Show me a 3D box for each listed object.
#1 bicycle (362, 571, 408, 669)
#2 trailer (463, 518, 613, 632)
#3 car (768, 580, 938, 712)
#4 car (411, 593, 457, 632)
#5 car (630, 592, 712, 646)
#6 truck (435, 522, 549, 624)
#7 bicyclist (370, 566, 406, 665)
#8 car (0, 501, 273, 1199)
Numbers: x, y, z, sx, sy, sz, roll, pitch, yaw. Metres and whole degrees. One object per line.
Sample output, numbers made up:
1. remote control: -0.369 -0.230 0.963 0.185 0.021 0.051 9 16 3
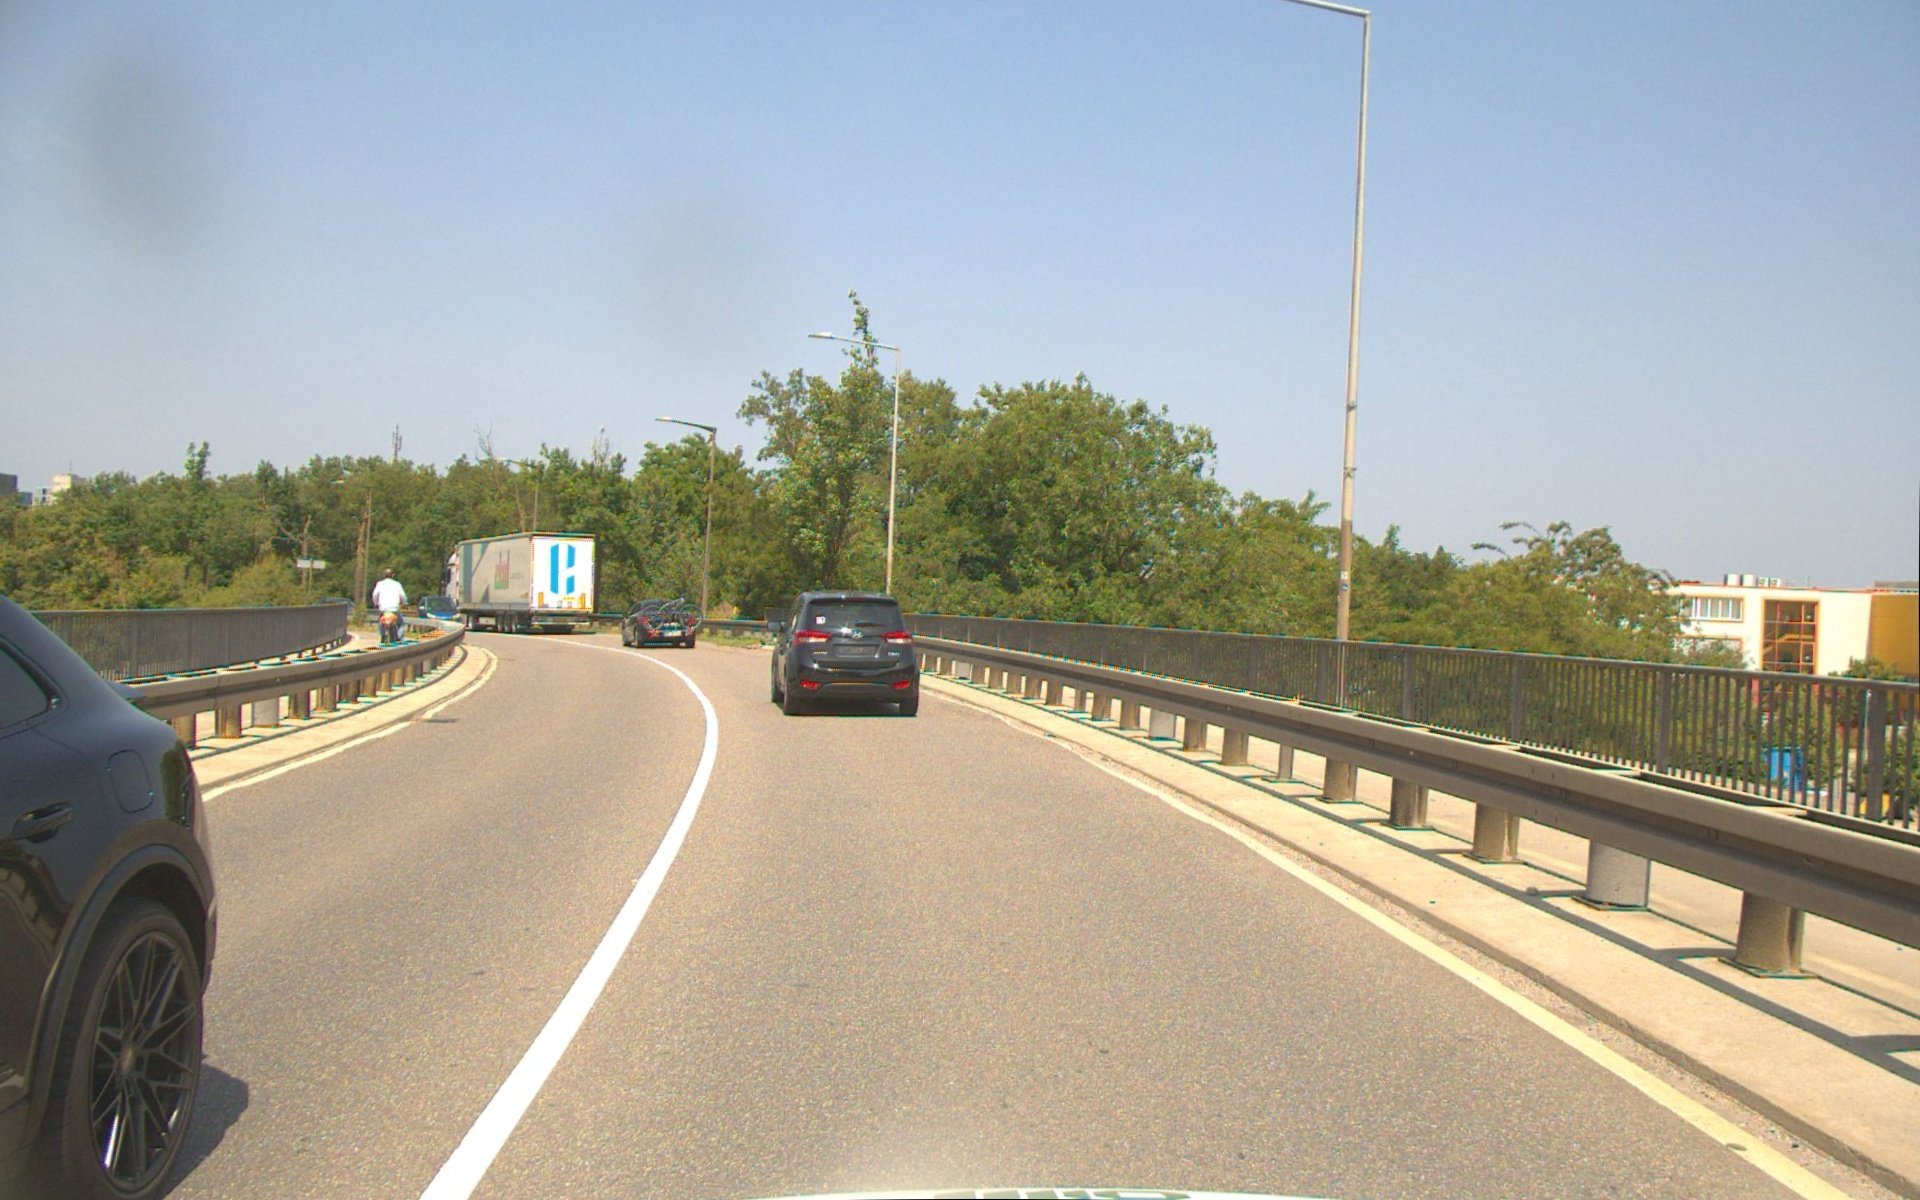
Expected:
1. bicycle: -11.197 0.365 32.262 0.686 1.833 2.172 1 1 -15
2. trailer: -18.245 -1.084 70.766 3.530 4.460 11.333 0 1 -29
3. car: -1.542 0.557 22.500 1.886 1.601 3.883 1 1 -10
4. car: -21.616 0.509 67.917 1.575 1.512 2.730 0 1 -22
5. car: -8.579 0.541 48.866 1.979 1.454 3.760 1 1 -16
6. truck: -21.930 -1.265 77.307 3.537 4.518 6.446 0 1 -31
7. bicyclist: -11.179 0.297 32.324 0.614 1.919 0.709 1 1 -17
8. car: -2.717 0.623 2.365 1.855 1.624 4.483 1 1 -4
